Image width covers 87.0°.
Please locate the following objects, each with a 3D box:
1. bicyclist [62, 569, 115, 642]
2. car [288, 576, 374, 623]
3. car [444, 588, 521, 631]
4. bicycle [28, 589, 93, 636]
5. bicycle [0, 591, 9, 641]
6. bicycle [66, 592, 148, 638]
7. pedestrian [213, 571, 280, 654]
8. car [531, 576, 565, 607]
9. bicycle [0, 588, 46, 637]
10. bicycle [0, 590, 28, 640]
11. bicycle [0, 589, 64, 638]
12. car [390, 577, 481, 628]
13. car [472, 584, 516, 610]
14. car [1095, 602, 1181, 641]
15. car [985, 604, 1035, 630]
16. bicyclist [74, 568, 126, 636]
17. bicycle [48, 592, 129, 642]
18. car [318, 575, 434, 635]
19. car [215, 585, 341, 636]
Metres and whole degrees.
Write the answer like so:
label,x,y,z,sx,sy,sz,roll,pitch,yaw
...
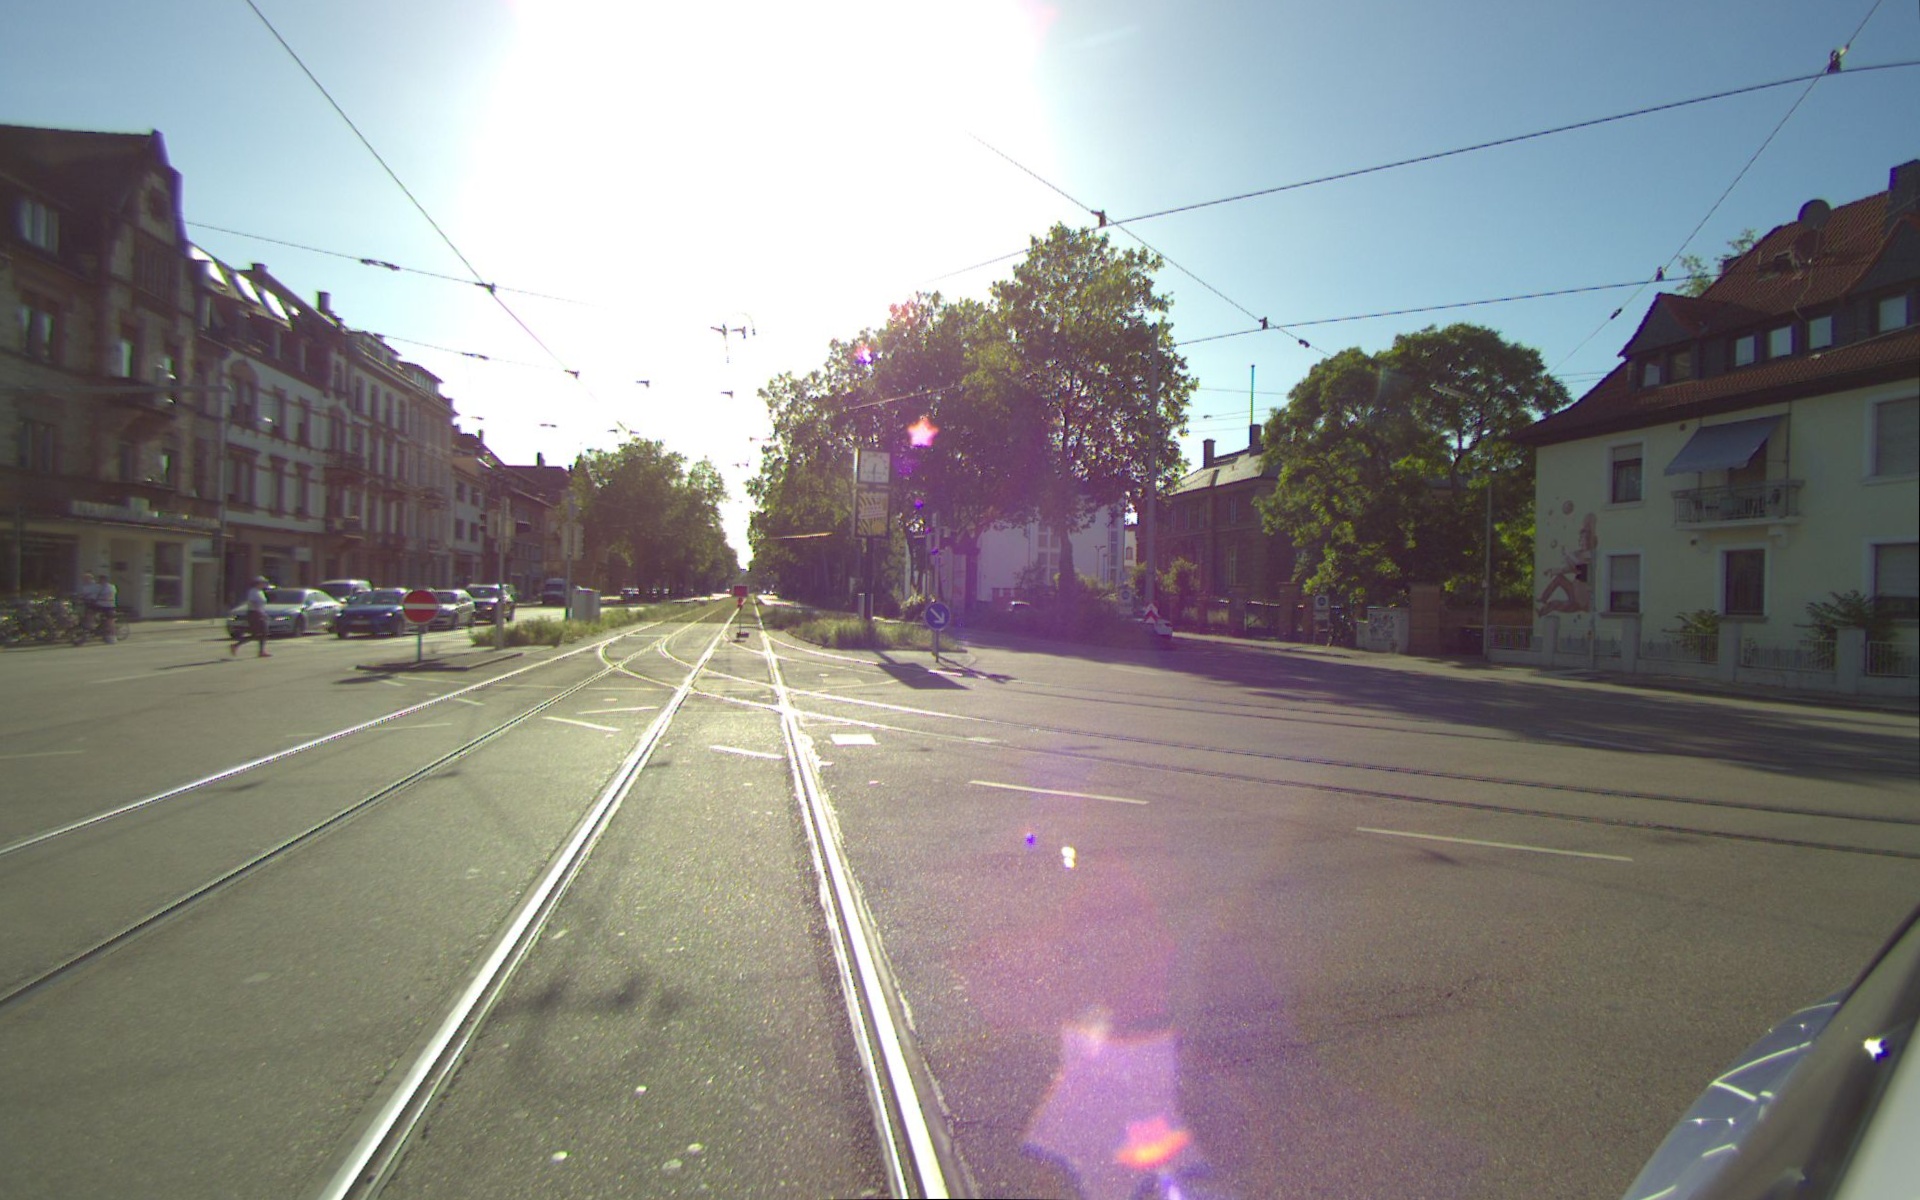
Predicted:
label,x,y,z,sx,sy,sz,roll,pitch,yaw
bicyclist,-22.073,0.132,25.636,0.589,1.786,0.877,2,-1,-9
car,-28.798,-0.027,46.493,1.914,1.990,4.427,2,0,-12
car,-20.178,0.365,42.968,1.914,1.689,4.495,2,0,-12
bicycle,-24.273,0.310,27.348,0.665,1.206,1.971,2,0,-23
bicycle,-23.985,0.366,24.049,1.926,1.206,0.680,2,-1,-10
bicycle,-23.287,0.403,27.676,0.590,1.206,1.967,2,0,-1
pedestrian,-14.894,0.253,21.144,0.919,1.691,0.719,2,-1,-16
car,-40.110,-0.814,98.583,2.156,2.946,5.971,2,0,-14
bicycle,-24.279,0.296,25.379,1.926,1.206,0.680,2,-1,-10
bicycle,-24.150,0.343,24.737,1.926,1.206,0.680,2,-1,-10
bicycle,-24.408,0.329,26.046,1.926,1.206,0.680,2,-1,-10
car,-18.978,0.083,36.797,1.914,1.689,4.007,2,0,-12
car,-34.906,-0.232,75.950,1.914,1.885,4.812,2,0,-12
car,7.537,0.889,43.232,1.878,1.472,4.512,2,0,-15
car,3.099,1.059,63.657,1.878,1.472,4.512,2,0,-15
bicyclist,-23.369,0.049,27.525,0.590,1.786,0.906,2,-1,-1
bicycle,-22.091,0.414,25.696,0.589,1.206,1.970,2,0,-9
car,-17.891,0.145,31.237,1.914,1.689,4.007,2,0,-12
car,-20.809,0.289,31.067,1.807,1.430,4.007,2,0,-12
